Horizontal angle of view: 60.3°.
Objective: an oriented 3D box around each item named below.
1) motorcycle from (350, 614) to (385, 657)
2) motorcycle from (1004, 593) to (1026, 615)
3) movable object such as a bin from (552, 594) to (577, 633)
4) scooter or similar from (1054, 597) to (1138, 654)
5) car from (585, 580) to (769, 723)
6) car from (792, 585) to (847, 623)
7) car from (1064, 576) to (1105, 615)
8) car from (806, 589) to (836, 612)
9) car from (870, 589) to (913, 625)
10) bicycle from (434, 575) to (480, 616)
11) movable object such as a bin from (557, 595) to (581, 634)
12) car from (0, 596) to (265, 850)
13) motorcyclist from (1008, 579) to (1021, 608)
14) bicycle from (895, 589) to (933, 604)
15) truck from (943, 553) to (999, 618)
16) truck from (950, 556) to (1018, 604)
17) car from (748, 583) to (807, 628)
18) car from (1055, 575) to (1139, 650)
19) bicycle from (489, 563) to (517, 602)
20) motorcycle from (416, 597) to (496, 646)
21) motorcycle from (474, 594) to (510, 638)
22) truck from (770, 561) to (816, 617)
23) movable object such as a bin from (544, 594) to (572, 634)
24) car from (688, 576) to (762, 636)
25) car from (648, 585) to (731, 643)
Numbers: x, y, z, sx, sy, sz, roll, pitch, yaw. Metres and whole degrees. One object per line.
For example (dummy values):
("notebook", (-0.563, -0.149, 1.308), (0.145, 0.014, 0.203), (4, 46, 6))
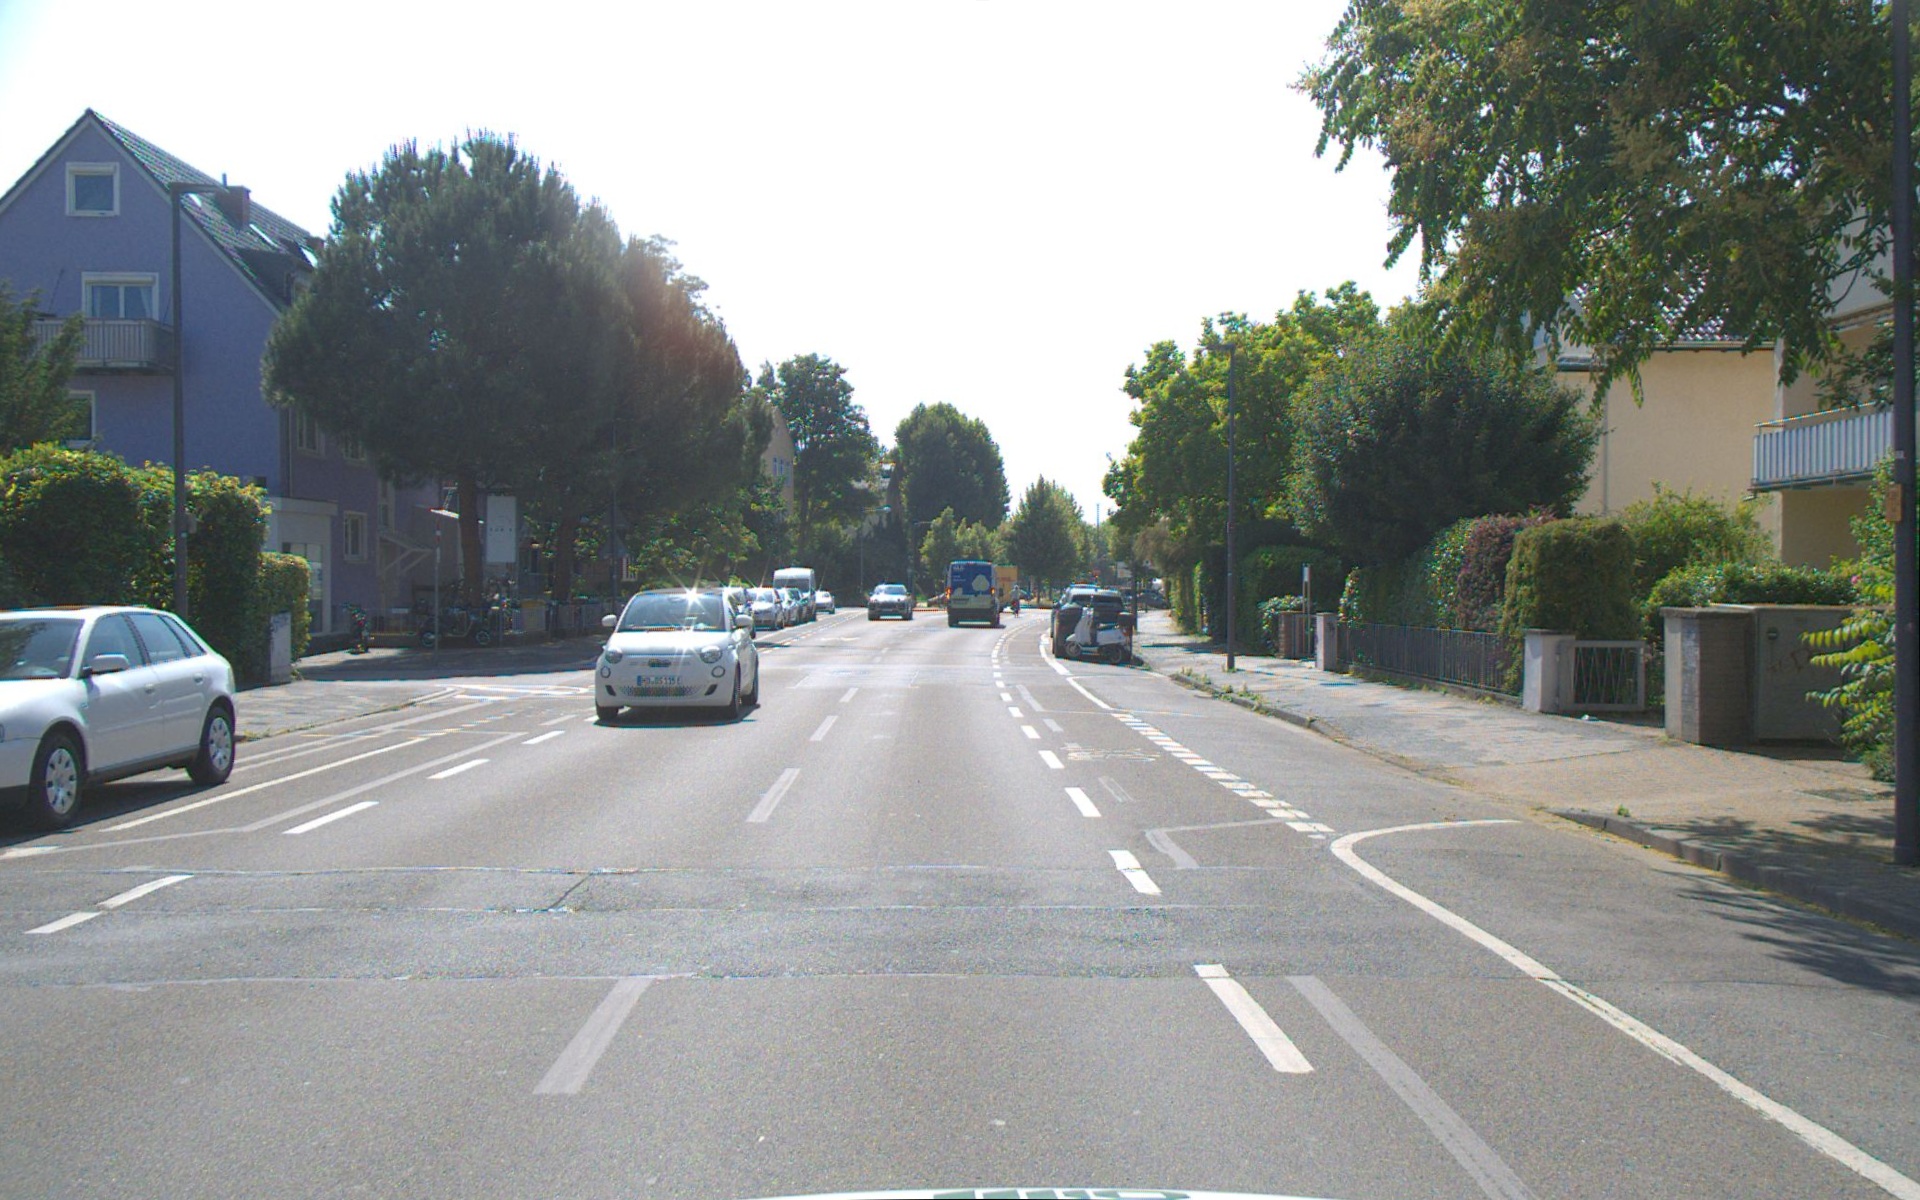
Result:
("motorcycle", (-14.475, 0.848, 40.396), (0.632, 1.008, 2.338), (0, 0, -24))
("motorcycle", (2.941, 0.185, 88.764), (1.035, 1.142, 2.991), (0, 0, -1))
("movable object such as a bin", (-11.570, 0.385, 48.383), (0.592, 1.131, 0.431), (0, 0, 4))
("scooter or similar", (3.052, 0.569, 37.190), (1.767, 1.174, 0.715), (4, 1, 44))
("car", (-3.442, 0.574, 20.789), (1.697, 1.568, 3.999), (-2, 0, -2))
("car", (-5.856, 0.132, 69.206), (1.796, 1.522, 3.655), (0, 1, 3))
("car", (5.569, -0.228, 74.497), (1.665, 1.706, 3.776), (0, 1, 2))
("car", (-8.538, 0.000, 101.826), (1.719, 1.367, 3.652), (0, 1, -3))
("car", (-3.366, 0.305, 81.573), (1.953, 1.686, 4.604), (0, 1, 0))
("bicycle", (-15.520, -0.146, 51.044), (0.526, 1.202, 1.446), (0, 3, 23))
("movable object such as a bin", (-11.503, 0.425, 48.711), (0.532, 1.131, 0.585), (0, 0, 4))
("car", (-6.675, 0.782, 11.821), (1.749, 1.465, 3.999), (-3, 1, -2))
("motorcyclist", (2.917, -0.373, 88.733), (0.658, 1.545, 0.652), (0, 0, 1))
("bicycle", (-3.310, -0.225, 119.436), (2.638, 1.066, 1.024), (-1, 0, -10))
("truck", (0.484, -0.589, 69.145), (2.225, 2.616, 4.393), (0, 0, 2))
("truck", (1.480, -1.248, 106.523), (2.186, 2.998, 5.642), (0, 0, -24))
("car", (-6.869, 0.193, 62.693), (1.797, 1.623, 3.775), (0, 0, 0))
("car", (3.356, 0.261, 39.891), (1.747, 1.666, 4.474), (2, 1, 8))
("bicycle", (-14.408, -0.540, 52.130), (0.526, 1.202, 1.445), (0, 0, -2))
("motorcycle", (-12.587, 0.543, 41.318), (1.800, 1.202, 0.643), (0, 0, 4))
("motorcycle", (-13.204, 0.441, 46.697), (0.525, 1.202, 1.447), (0, 0, 4))
("truck", (-8.066, -0.542, 80.170), (2.039, 2.581, 5.463), (0, 1, -4))
("movable object such as a bin", (-11.620, 0.396, 47.801), (0.592, 1.131, 0.663), (0, 0, 4))
("car", (-7.334, 0.138, 51.966), (1.871, 1.706, 4.256), (-2, 1, -3))
("car", (-7.490, 0.362, 46.137), (1.745, 1.485, 4.084), (-1, 1, -2))
